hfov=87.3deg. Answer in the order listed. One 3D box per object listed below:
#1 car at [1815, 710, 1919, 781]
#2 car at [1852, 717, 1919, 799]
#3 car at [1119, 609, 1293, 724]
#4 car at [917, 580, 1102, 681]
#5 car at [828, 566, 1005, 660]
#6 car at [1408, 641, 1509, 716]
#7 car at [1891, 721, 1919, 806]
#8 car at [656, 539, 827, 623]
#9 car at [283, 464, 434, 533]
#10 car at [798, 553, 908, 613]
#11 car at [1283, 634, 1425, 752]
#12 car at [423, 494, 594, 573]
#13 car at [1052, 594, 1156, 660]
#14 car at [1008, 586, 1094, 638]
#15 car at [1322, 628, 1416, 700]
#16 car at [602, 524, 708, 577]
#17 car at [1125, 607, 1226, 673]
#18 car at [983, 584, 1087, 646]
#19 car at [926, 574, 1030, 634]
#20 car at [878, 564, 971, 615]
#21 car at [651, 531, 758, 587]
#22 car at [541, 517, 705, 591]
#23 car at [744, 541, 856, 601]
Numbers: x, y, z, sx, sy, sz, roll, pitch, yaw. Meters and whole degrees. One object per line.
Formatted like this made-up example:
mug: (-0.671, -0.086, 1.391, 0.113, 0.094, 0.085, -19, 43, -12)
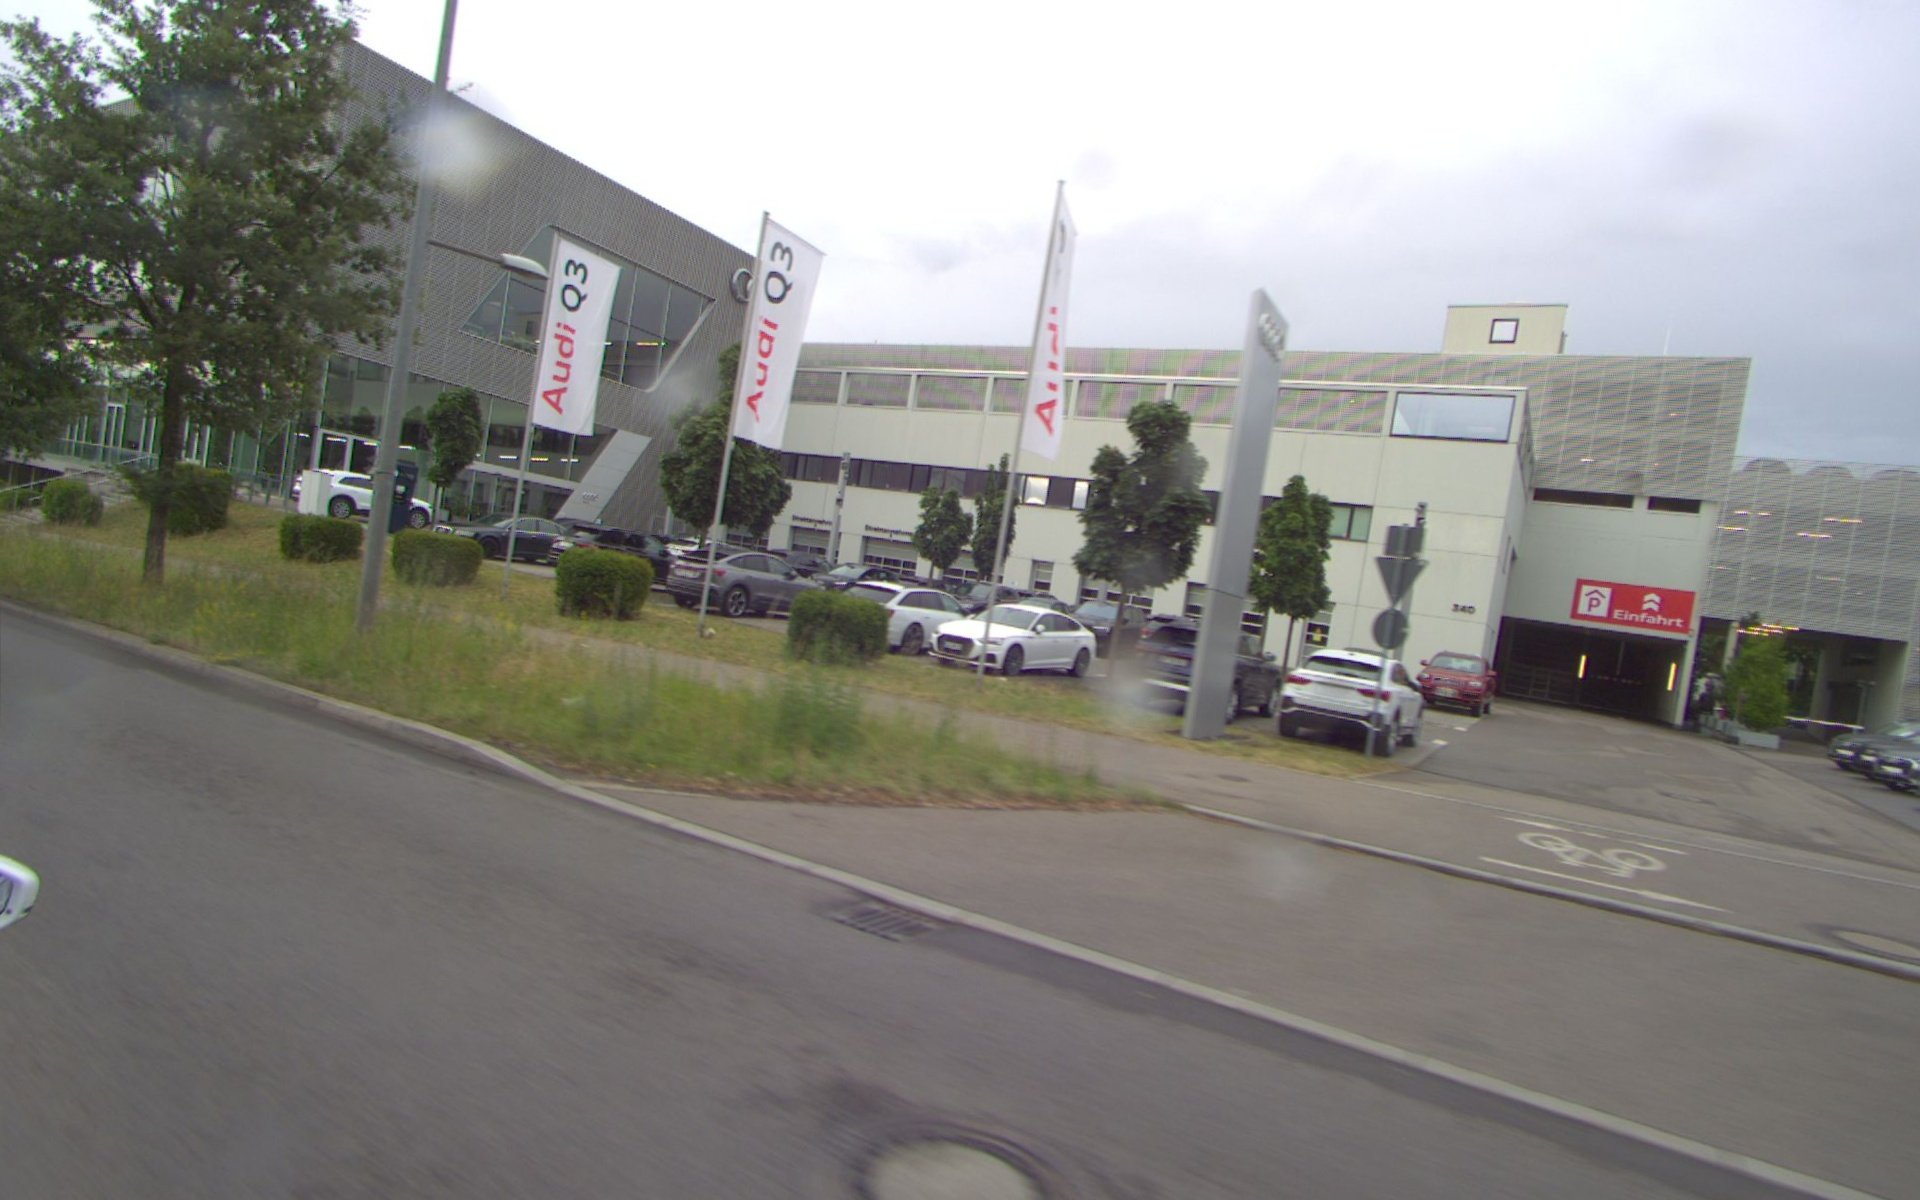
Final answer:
car: (27.009, 4.247, 28.727, 3.496, 1.614, 1.771, 7, 1, 0)
car: (23.251, 3.831, 23.272, 3.496, 1.614, 1.771, 7, 1, 0)
car: (4.708, 1.300, 18.776, 1.839, 1.612, 4.114, 10, 0, 31)
car: (1.142, 0.691, 21.182, 1.668, 1.612, 4.105, 6, -3, 39)
car: (-0.838, 0.361, 22.654, 1.664, 1.613, 4.528, 6, -2, 31)
car: (15.505, 2.474, 31.157, 1.969, 1.876, 4.531, 7, -2, 35)
car: (20.804, 3.474, 19.594, 3.496, 1.614, 1.771, 7, 1, 0)
car: (-5.324, -0.415, 24.992, 1.664, 1.629, 4.109, 8, 1, 31)
car: (-21.589, -3.614, 36.300, 1.664, 1.592, 4.269, 8, -2, 31)
car: (-3.815, -0.582, 36.558, 1.664, 1.593, 4.113, 8, 0, 31)
car: (6.931, 1.599, 17.598, 1.913, 1.612, 4.120, 6, -2, 24)
car: (-13.537, -1.959, 30.449, 1.664, 1.592, 4.430, 8, -2, 31)
car: (4.618, 0.895, 31.715, 1.664, 1.592, 4.114, 7, -2, 31)
car: (3.629, 0.513, 39.470, 1.664, 1.593, 4.113, 7, -1, 30)
car: (13.314, 2.122, 32.631, 1.967, 1.898, 3.993, 8, -1, 32)
car: (-13.067, -2.090, 43.302, 1.730, 1.592, 4.114, 8, -2, 31)
car: (6.606, 1.247, 30.496, 1.664, 1.592, 4.114, 6, -2, 31)
car: (2.589, 0.549, 33.673, 1.664, 1.593, 4.113, 8, -1, 31)
car: (0.697, 0.181, 34.897, 1.664, 1.593, 4.113, 6, -1, 31)
car: (-1.410, -0.397, 41.208, 1.664, 1.594, 4.109, 10, 2, 31)
car: (-10.361, -1.620, 41.056, 1.664, 1.592, 4.114, 8, -2, 31)
car: (-9.166, -1.217, 27.677, 1.664, 1.594, 4.108, 7, 1, 31)
car: (-5.924, -1.044, 37.803, 1.795, 1.592, 4.114, 8, -2, 31)
